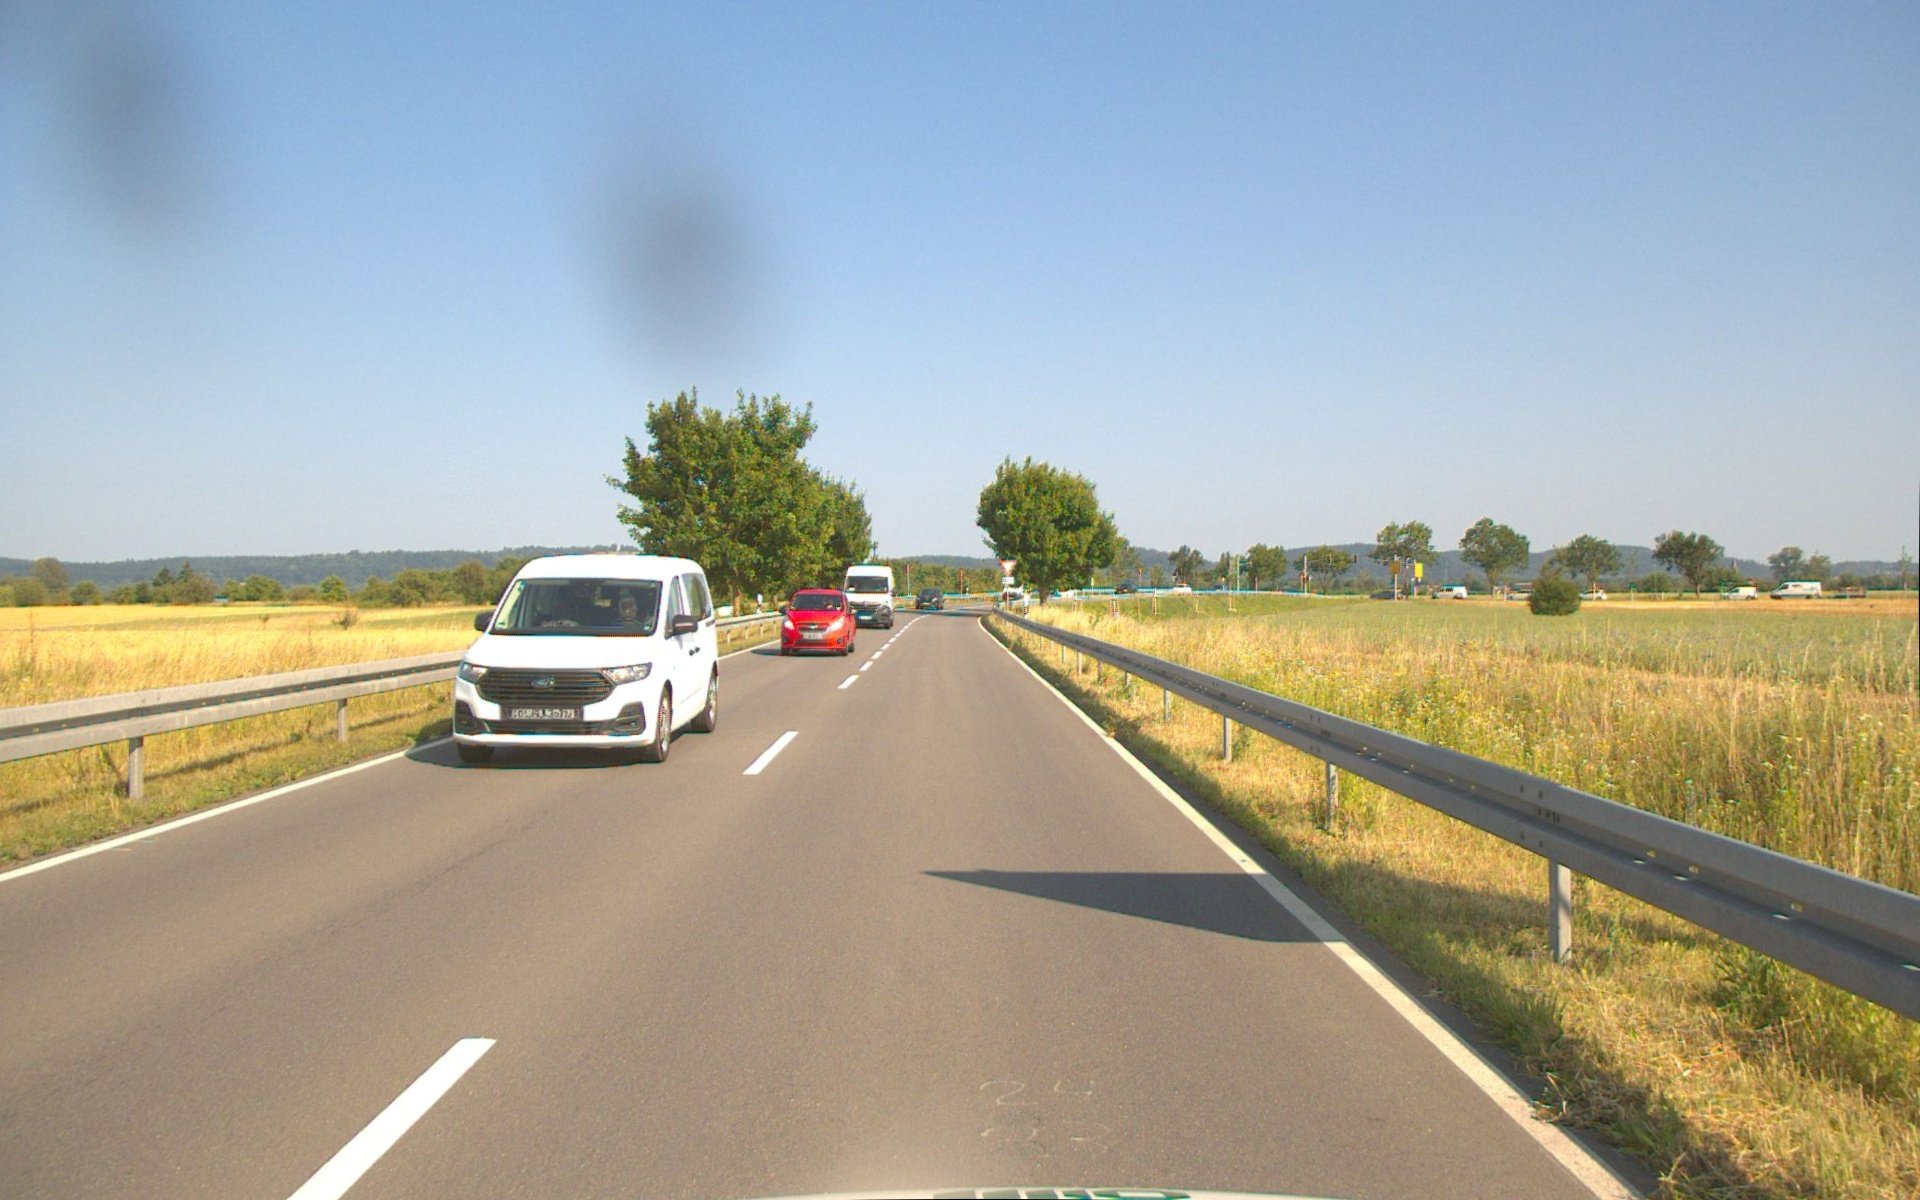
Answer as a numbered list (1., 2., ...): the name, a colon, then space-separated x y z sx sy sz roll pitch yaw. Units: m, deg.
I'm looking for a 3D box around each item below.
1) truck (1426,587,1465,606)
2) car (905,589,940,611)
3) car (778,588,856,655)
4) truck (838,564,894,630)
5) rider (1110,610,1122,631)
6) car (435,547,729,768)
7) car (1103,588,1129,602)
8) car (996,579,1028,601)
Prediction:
1. truck: 68.991 -0.507 235.186 4.973 2.573 1.989 1 -1 40
2. car: -2.570 -0.008 113.853 1.609 1.497 3.810 1 0 11
3. car: -3.363 0.478 39.468 1.574 1.514 3.779 0 0 -1
4. truck: -3.795 -0.121 67.731 1.953 2.564 6.243 0 0 -1
5. rider: 11.698 1.546 123.758 0.596 1.554 1.827 1 -1 14
6. car: -3.423 0.459 15.834 1.799 1.818 4.434 0 0 0
7. car: 18.103 -0.530 192.131 1.952 1.559 4.593 1 0 19
8. car: 4.844 -0.911 152.527 1.951 1.917 4.595 1 0 14
